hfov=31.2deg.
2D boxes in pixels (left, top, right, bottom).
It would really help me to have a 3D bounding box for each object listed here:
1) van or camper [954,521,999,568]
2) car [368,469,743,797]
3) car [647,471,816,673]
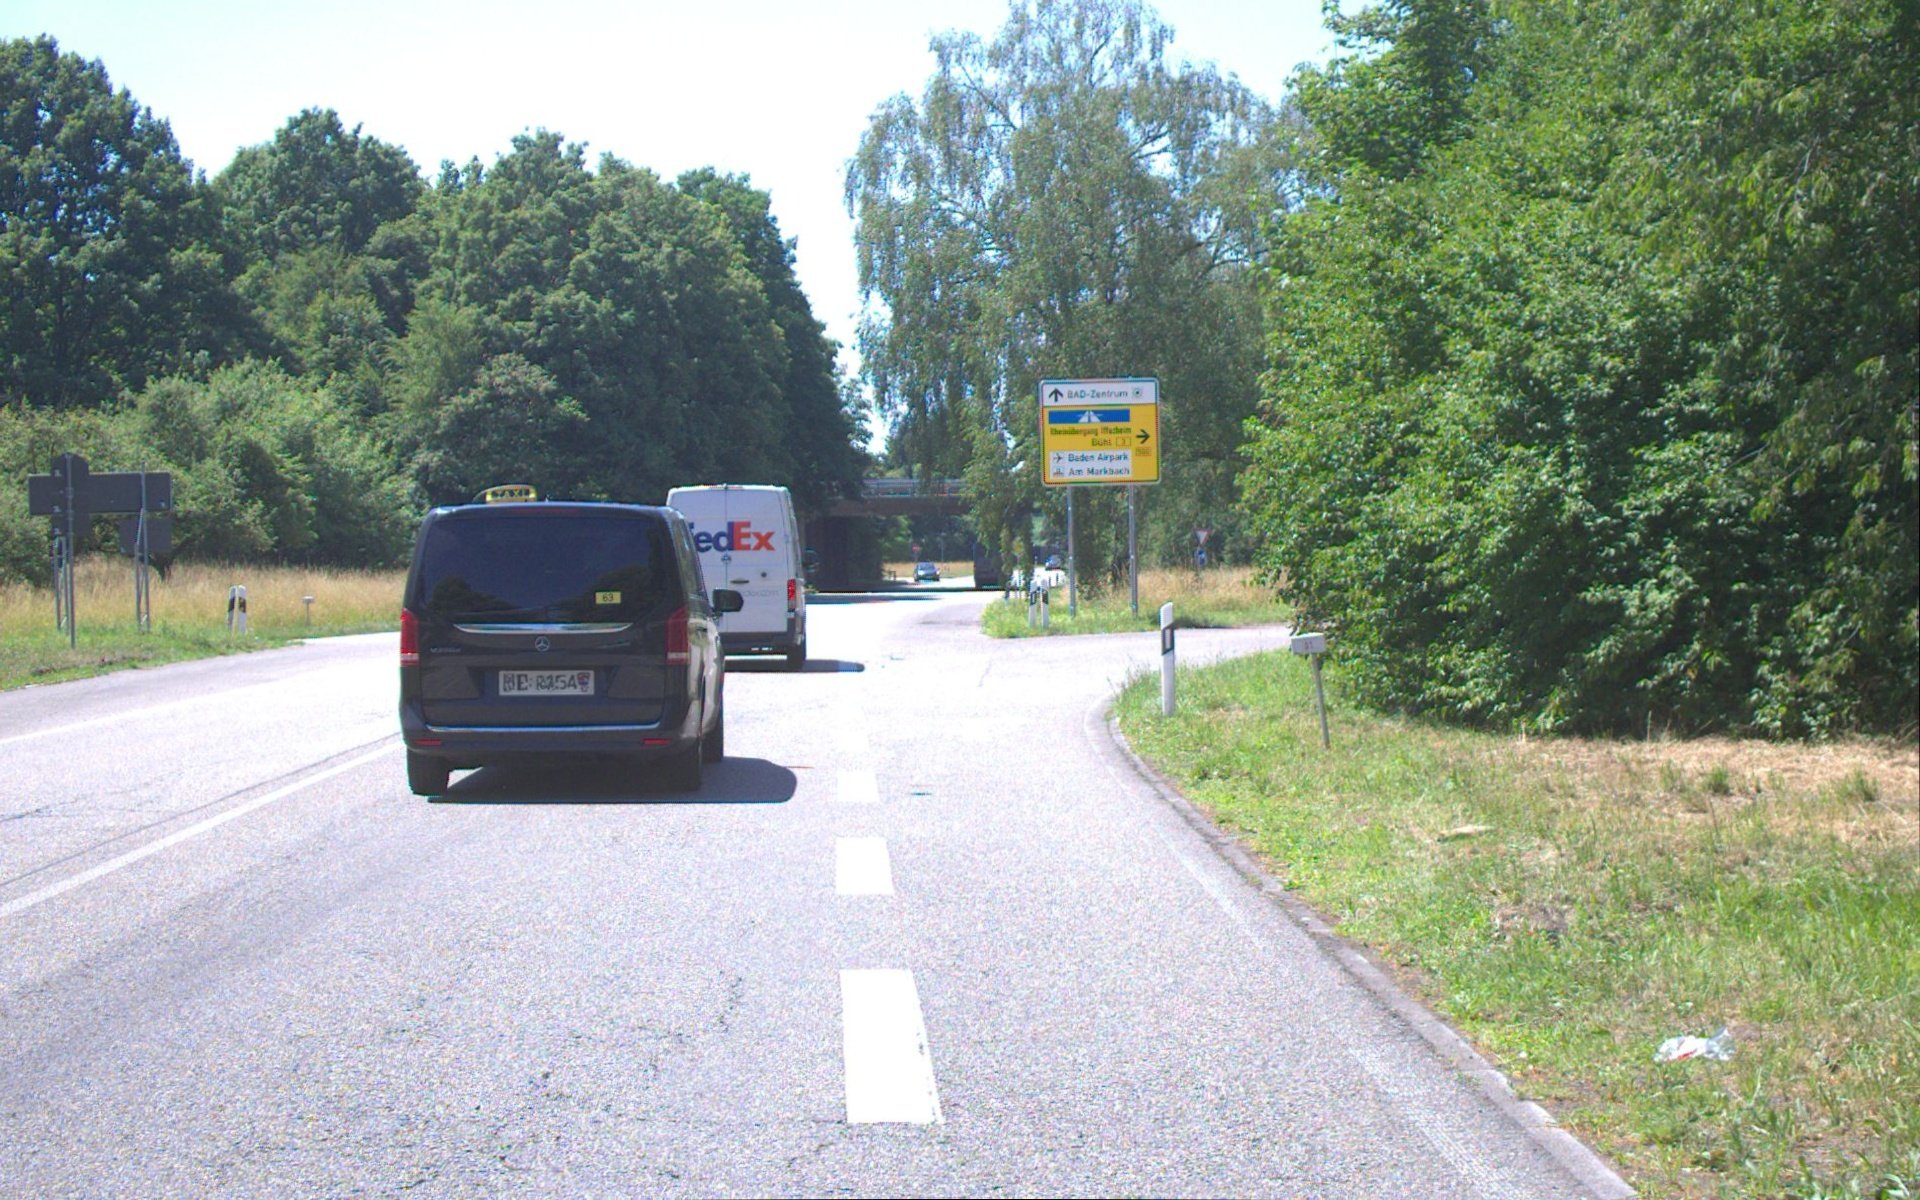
[{"bbox_3d":[1.056,-3.569,222.264,2.631,2.919,5.207,0,0,-3],"label":"van or camper"},{"bbox_3d":[-2.603,0.173,23.278,1.993,1.946,5.005,1,1,-1],"label":"car"},{"bbox_3d":[-3.189,-0.400,48.865,2.078,2.693,4.666,1,1,-1],"label":"car"}]
